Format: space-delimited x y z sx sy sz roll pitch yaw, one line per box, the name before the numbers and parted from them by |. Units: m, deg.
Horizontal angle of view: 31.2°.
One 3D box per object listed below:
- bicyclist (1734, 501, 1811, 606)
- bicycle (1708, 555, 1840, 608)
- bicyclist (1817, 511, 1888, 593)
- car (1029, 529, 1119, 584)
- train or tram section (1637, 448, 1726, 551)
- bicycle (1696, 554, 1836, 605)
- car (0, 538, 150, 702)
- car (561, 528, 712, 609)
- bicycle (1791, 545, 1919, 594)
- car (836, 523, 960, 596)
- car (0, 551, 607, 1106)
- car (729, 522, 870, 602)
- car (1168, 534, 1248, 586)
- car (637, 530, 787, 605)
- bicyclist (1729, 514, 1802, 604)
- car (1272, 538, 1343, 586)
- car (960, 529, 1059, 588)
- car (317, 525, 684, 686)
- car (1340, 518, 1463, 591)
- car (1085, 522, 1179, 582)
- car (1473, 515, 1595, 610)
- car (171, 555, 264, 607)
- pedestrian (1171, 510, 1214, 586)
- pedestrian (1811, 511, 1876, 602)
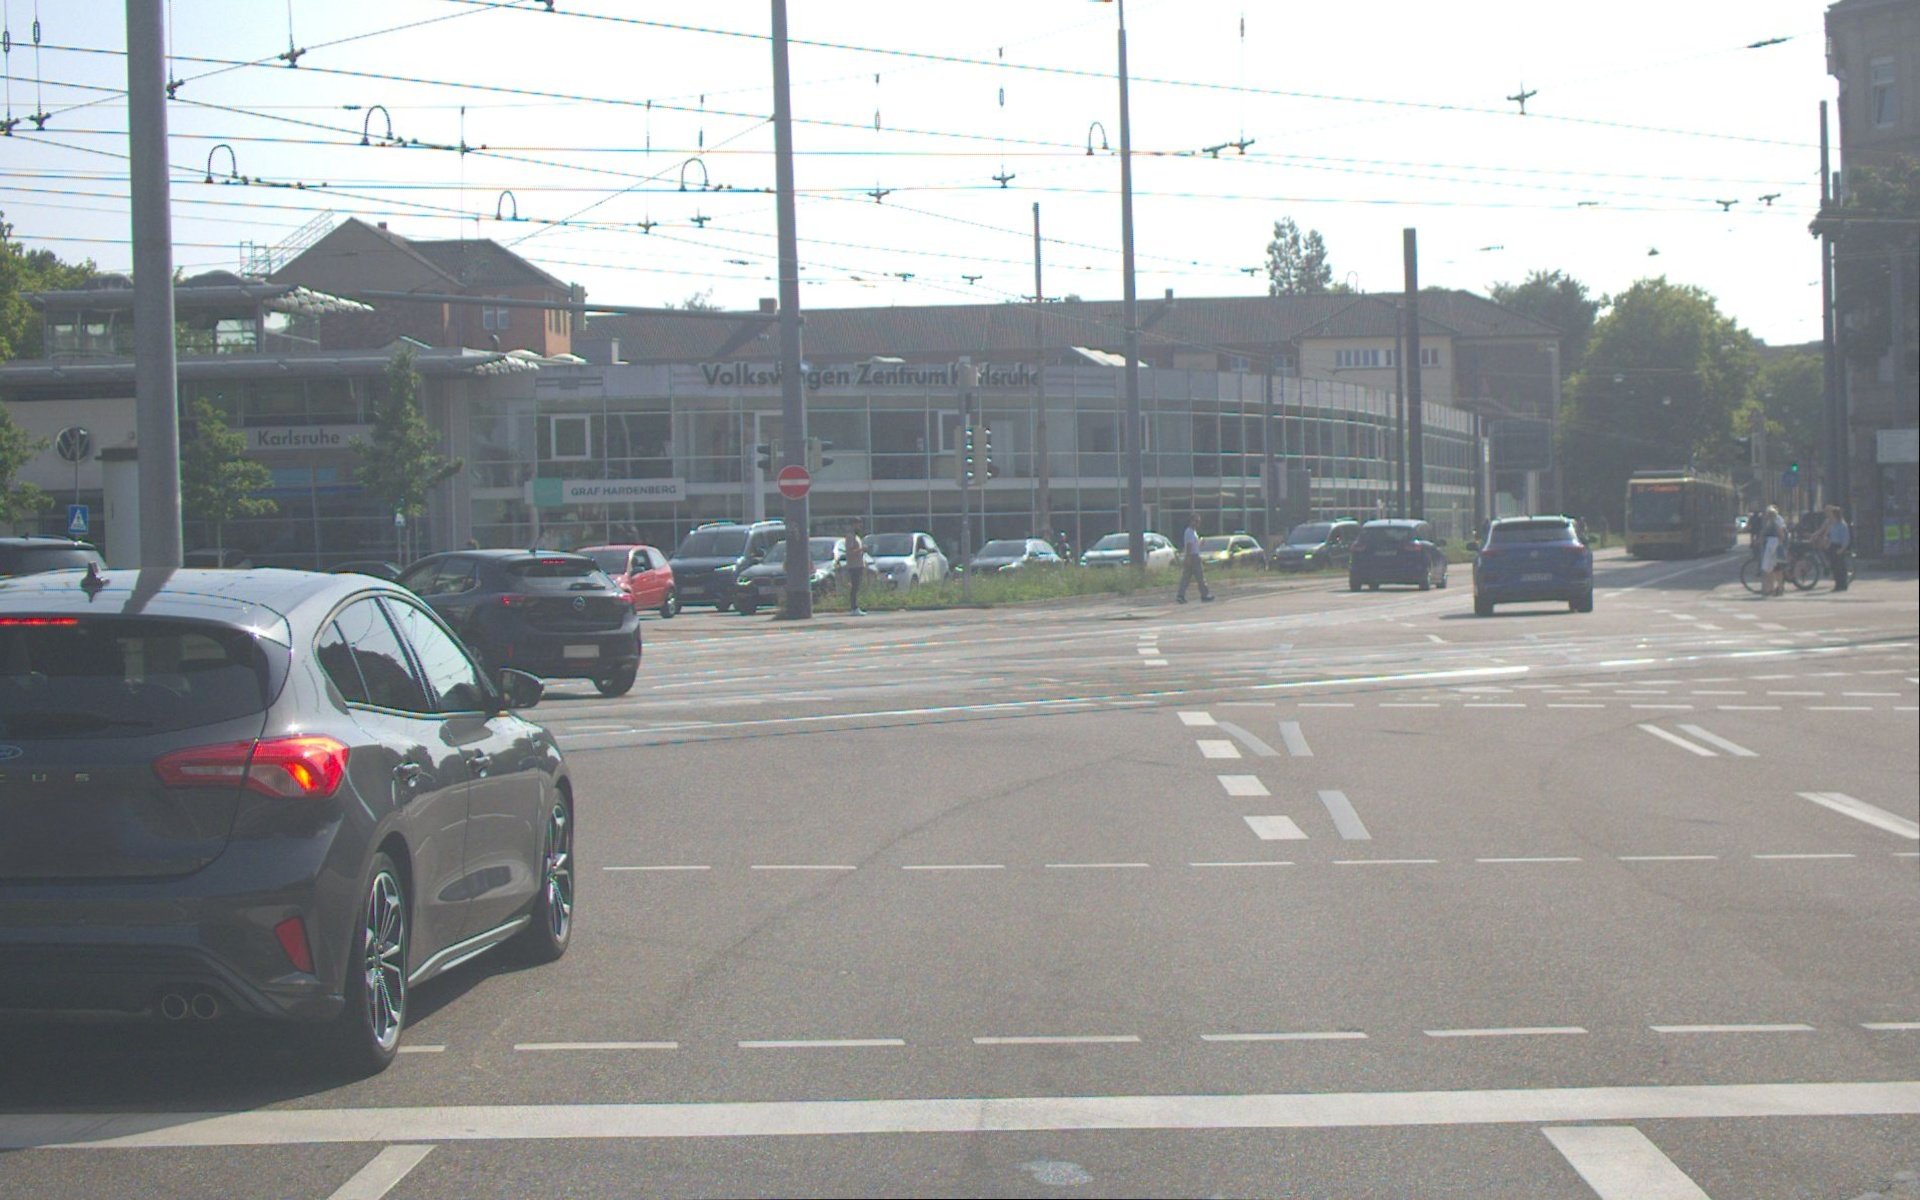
bicyclist | 15.881 -0.904 67.200 0.934 2.017 1.093 -2 1 -37
bicycle | 15.928 -0.363 67.234 2.619 0.961 1.093 -2 2 -37
bicyclist | 18.422 -0.997 70.980 0.934 1.674 1.093 -2 1 -24
car | 3.305 -1.254 99.000 1.615 1.470 3.997 -3 0 16
train or tram section | 27.301 -3.795 129.808 2.656 3.686 10.582 -1 1 15
bicycle | 16.304 -0.414 69.508 2.617 0.961 1.093 -2 1 -24
car | -11.330 0.218 38.339 4.405 1.708 1.828 -1 1 31
car | -6.322 -0.634 67.614 1.615 1.470 3.997 -3 0 15
bicycle | 18.604 -0.636 71.072 2.617 0.961 1.093 -2 1 -24
car | -1.313 -0.901 74.790 1.615 1.470 3.997 -3 0 15
car | -2.432 0.577 11.320 1.832 1.430 4.550 -1 1 3
car | -3.147 -0.782 68.375 1.615 1.470 3.997 -3 0 15
car | 7.644 -1.244 105.818 1.615 1.470 3.997 -3 0 16
car | -5.266 -0.715 73.523 1.962 1.470 3.997 -3 0 15
bicyclist | 16.283 -0.833 69.491 0.934 1.793 1.093 -2 1 -24
car | 11.536 -1.277 114.070 1.615 1.470 3.997 -3 0 16
car | 1.360 -1.118 92.090 1.615 1.470 3.997 -3 0 16
car | -4.626 0.075 34.106 1.683 1.487 4.371 -1 0 -37
car | 10.006 -1.038 77.653 1.827 1.530 4.408 -1 1 20
car | 4.629 -1.298 92.033 1.615 1.470 3.997 -3 0 16
car | 9.235 -0.627 55.221 1.826 1.423 4.411 -1 1 10
car | -22.717 -0.591 105.255 1.700 1.517 4.099 -1 1 4
pedestrian | 4.638 -1.036 68.507 0.778 1.498 0.710 -1 1 8
pedestrian | 17.590 -0.870 68.446 0.925 1.791 0.859 -2 1 -41
